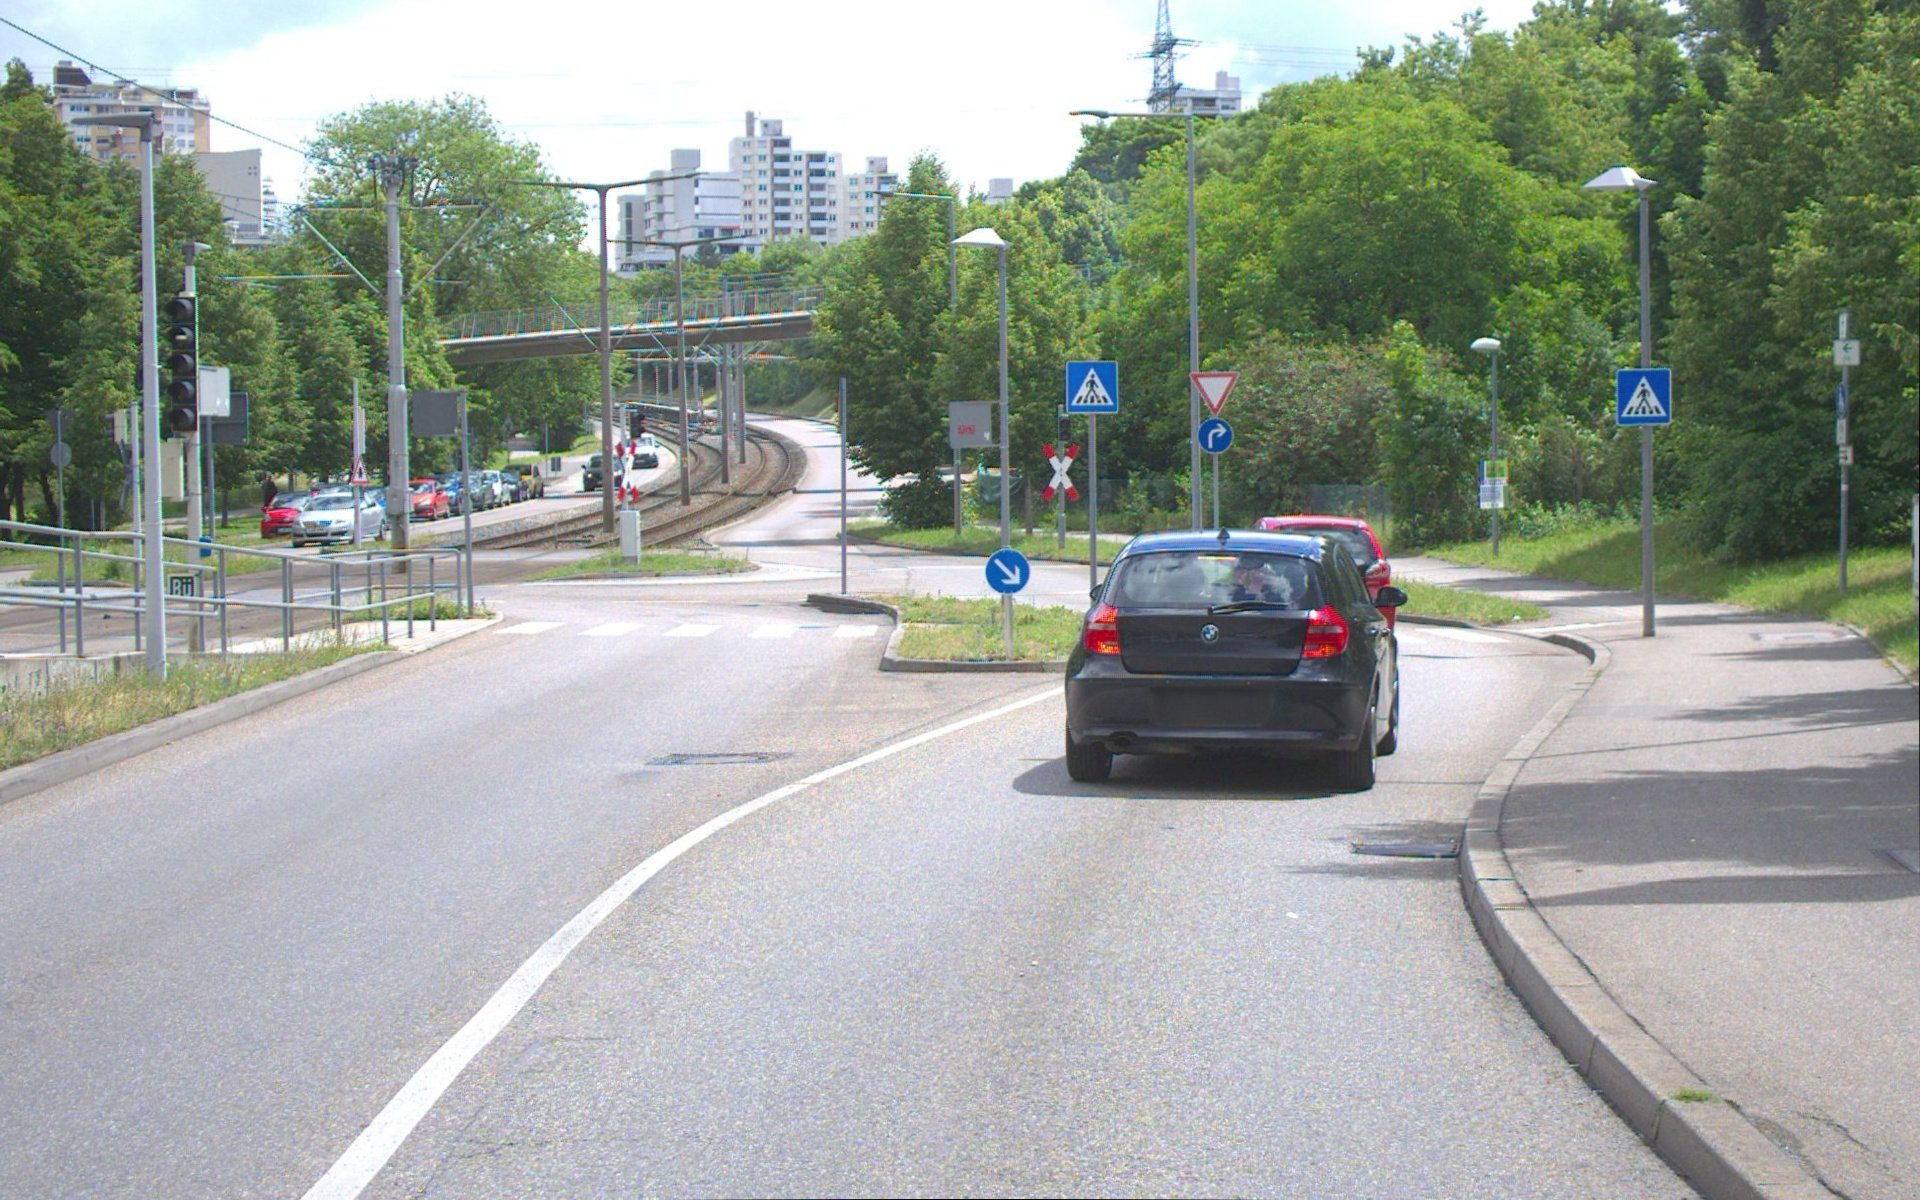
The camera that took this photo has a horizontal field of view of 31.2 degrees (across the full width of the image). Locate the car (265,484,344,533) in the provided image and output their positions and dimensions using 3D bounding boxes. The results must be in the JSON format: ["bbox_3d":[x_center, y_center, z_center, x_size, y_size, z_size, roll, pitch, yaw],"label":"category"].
[{"bbox_3d":[-18.999,-2.659,99.723,1.528,1.366,3.597,-1,2,1],"label":"car"}]

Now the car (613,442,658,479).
[{"bbox_3d":[-18.222,-7.831,192.812,1.993,2.006,4.002,-1,2,-13],"label":"car"}]

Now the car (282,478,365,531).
[{"bbox_3d":[-17.353,-2.621,93.862,1.876,1.345,3.832,-2,3,-5],"label":"car"}]

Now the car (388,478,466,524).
[{"bbox_3d":[-18.783,-3.518,121.276,1.913,1.555,4.000,-1,2,3],"label":"car"}]

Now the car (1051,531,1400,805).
[{"bbox_3d":[1.626,0.333,20.215,1.815,1.416,3.999,-1,1,6],"label":"car"}]

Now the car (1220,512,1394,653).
[{"bbox_3d":[3.782,-0.224,37.400,1.766,1.427,3.478,-1,1,6],"label":"car"}]

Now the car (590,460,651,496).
[{"bbox_3d":[-15.535,-5.597,157.516,1.994,1.591,4.419,-1,2,5],"label":"car"}]

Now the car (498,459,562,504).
[{"bbox_3d":[-18.461,-5.095,147.791,1.994,1.856,4.000,0,3,3],"label":"car"}]
